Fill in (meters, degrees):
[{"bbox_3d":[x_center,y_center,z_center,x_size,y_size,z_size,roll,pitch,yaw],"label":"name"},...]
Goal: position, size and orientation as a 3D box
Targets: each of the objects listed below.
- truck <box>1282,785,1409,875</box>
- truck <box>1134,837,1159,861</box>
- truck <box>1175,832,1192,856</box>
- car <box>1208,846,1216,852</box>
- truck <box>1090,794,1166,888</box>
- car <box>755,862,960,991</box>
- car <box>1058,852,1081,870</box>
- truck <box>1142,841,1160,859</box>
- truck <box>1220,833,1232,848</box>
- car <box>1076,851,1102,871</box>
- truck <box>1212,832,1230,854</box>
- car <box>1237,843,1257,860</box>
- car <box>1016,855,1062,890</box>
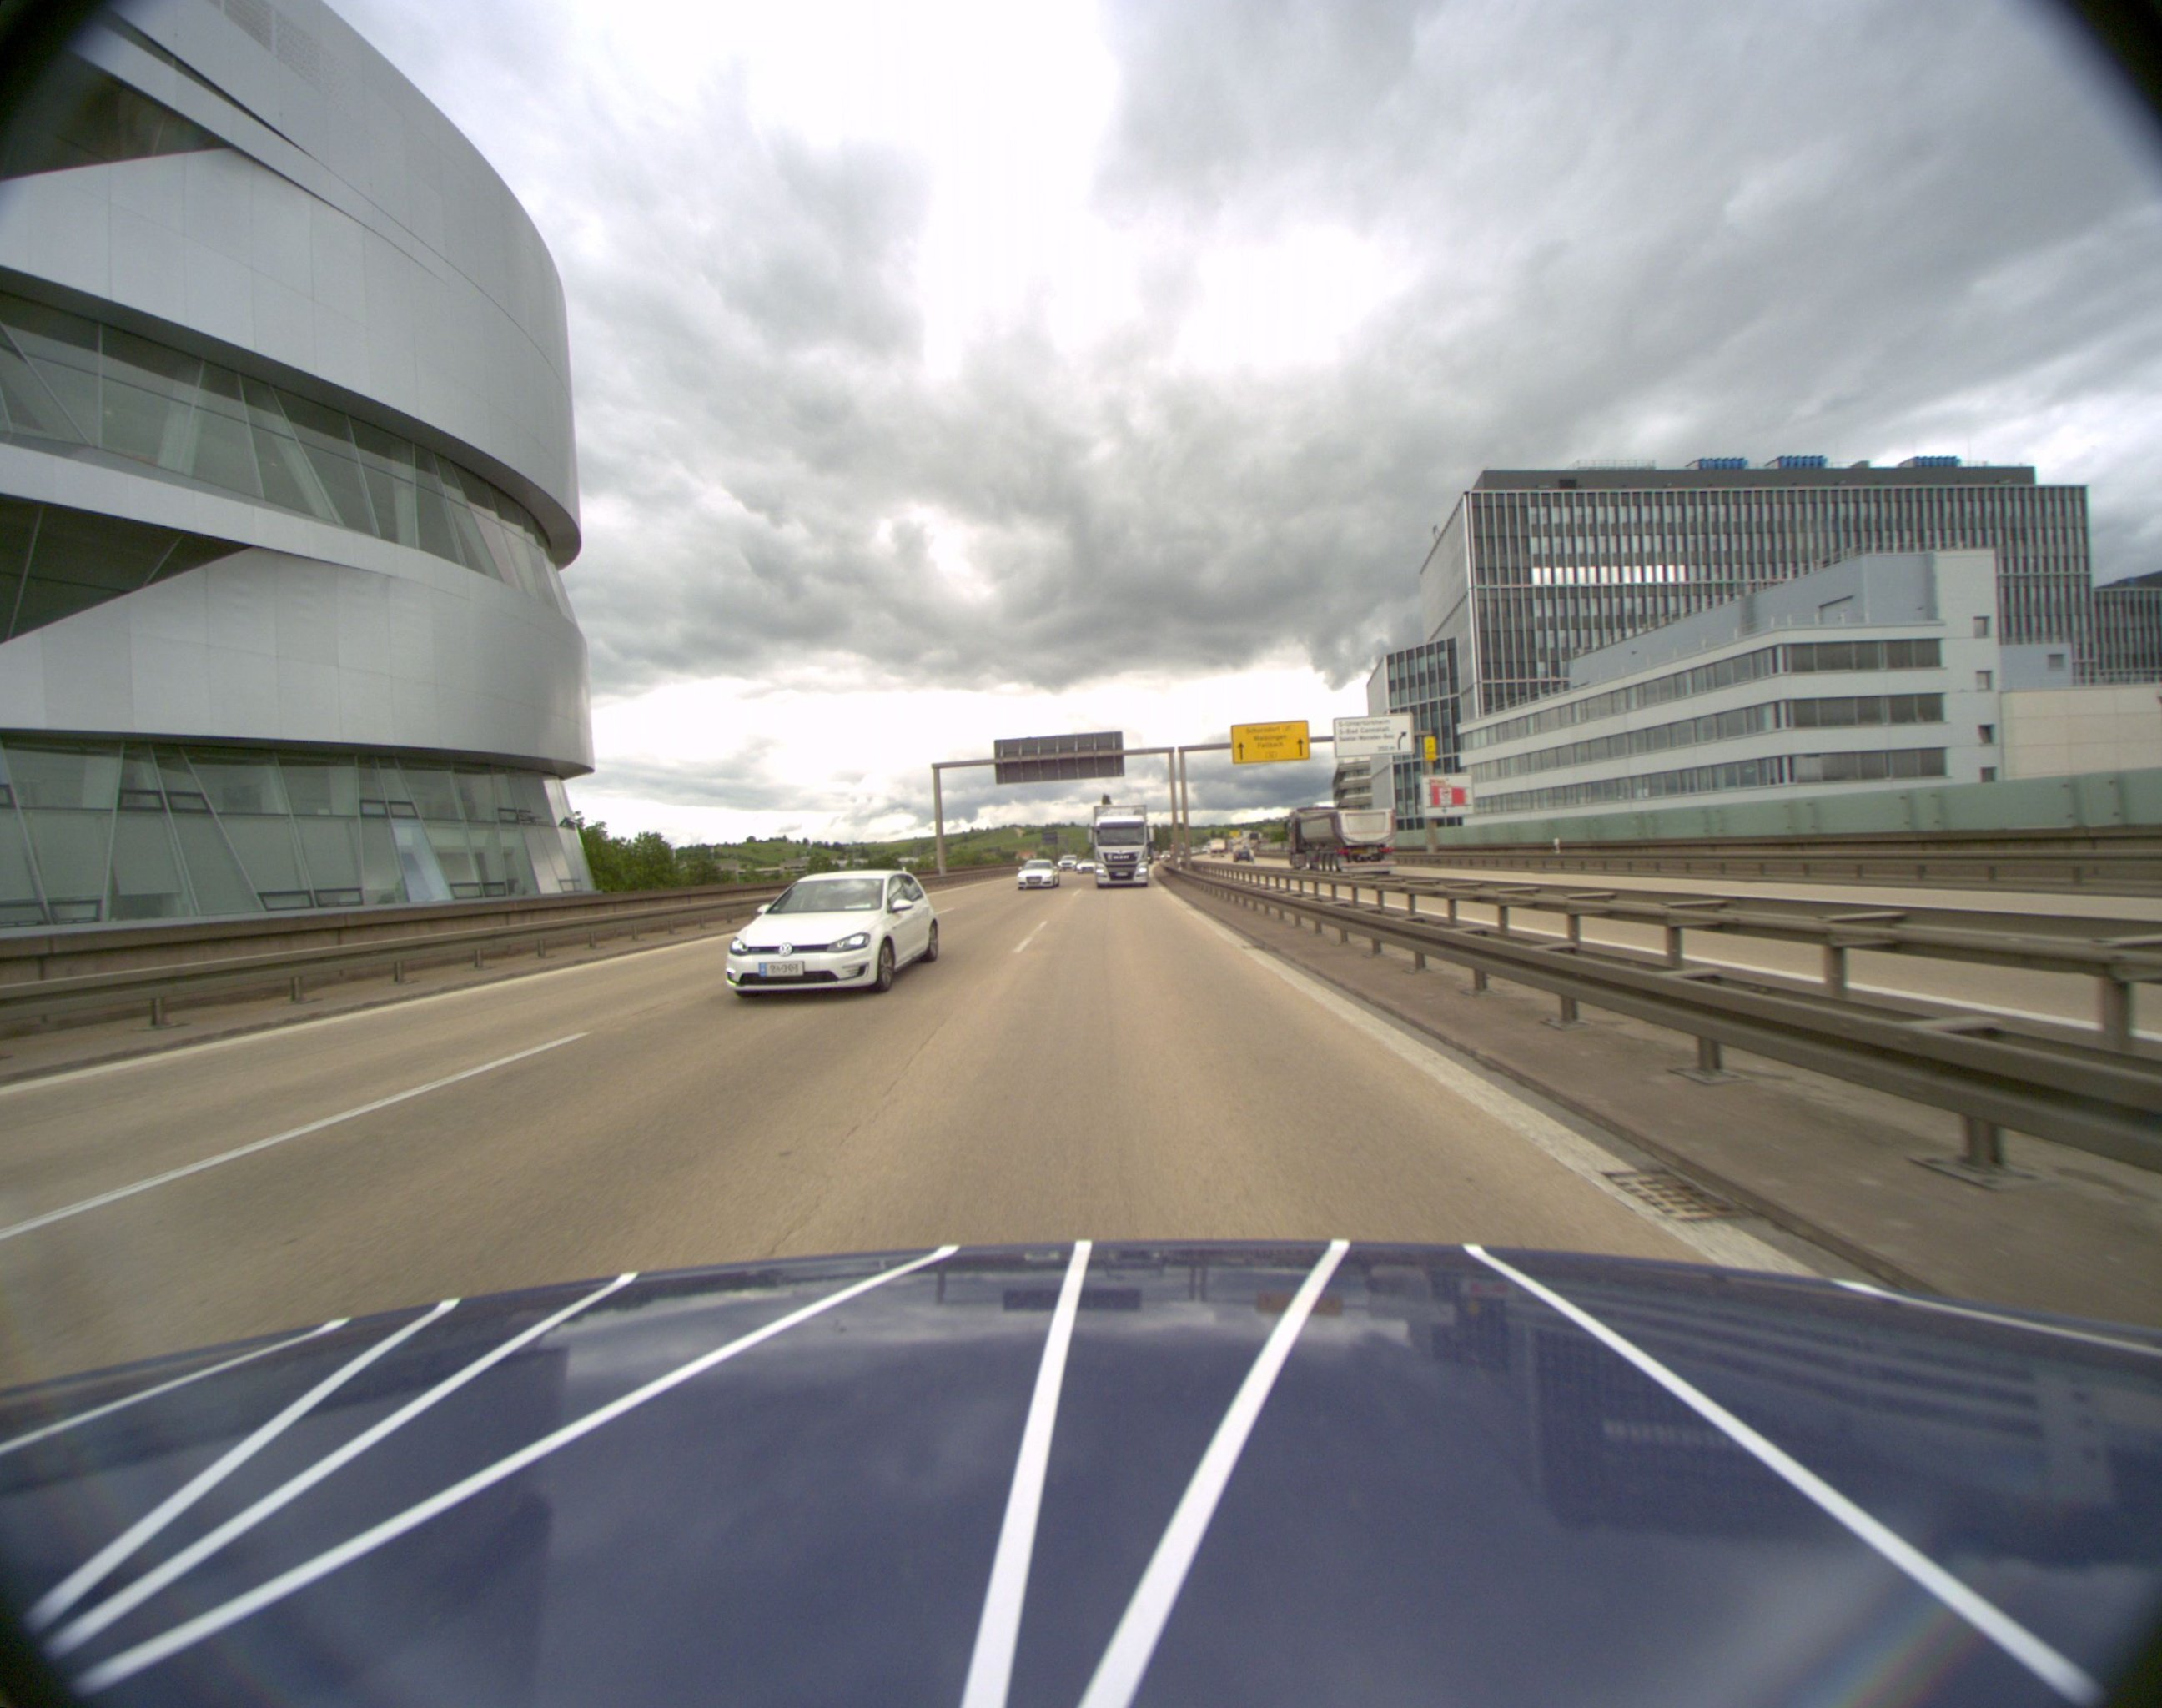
[{"bbox_3d":[13.066,-1.110,38.913,2.817,3.787,12.021,-2,1,3],"label":"truck"},{"bbox_3d":[9.311,-0.784,107.565,3.063,3.168,8.307,-2,1,8],"label":"truck"},{"bbox_3d":[20.380,-1.937,151.416,3.063,4.536,12.076,-2,1,8],"label":"truck"},{"bbox_3d":[39.957,-1.447,231.817,1.998,1.597,4.808,-2,1,5],"label":"car"},{"bbox_3d":[2.314,-0.617,36.831,3.141,4.014,5.689,-3,1,4],"label":"truck"},{"bbox_3d":[-3.182,0.958,11.768,1.931,1.499,4.060,-2,1,0],"label":"car"},{"bbox_3d":[-1.149,0.697,78.231,1.930,1.585,4.062,-3,0,5],"label":"car"},{"bbox_3d":[13.222,-0.815,143.486,3.063,3.168,8.307,-2,1,7],"label":"truck"},{"bbox_3d":[42.960,-3.933,224.874,3.062,4.042,11.865,-2,1,12],"label":"truck"},{"bbox_3d":[0.744,0.578,65.510,1.930,1.585,4.062,-3,0,3],"label":"car"},{"bbox_3d":[26.079,-2.028,141.728,3.062,3.754,12.526,-2,1,10],"label":"truck"},{"bbox_3d":[17.724,-0.291,81.221,1.997,1.665,4.411,-2,1,11],"label":"car"},{"bbox_3d":[-2.061,0.896,38.464,1.930,1.499,4.061,-3,0,2],"label":"car"}]
